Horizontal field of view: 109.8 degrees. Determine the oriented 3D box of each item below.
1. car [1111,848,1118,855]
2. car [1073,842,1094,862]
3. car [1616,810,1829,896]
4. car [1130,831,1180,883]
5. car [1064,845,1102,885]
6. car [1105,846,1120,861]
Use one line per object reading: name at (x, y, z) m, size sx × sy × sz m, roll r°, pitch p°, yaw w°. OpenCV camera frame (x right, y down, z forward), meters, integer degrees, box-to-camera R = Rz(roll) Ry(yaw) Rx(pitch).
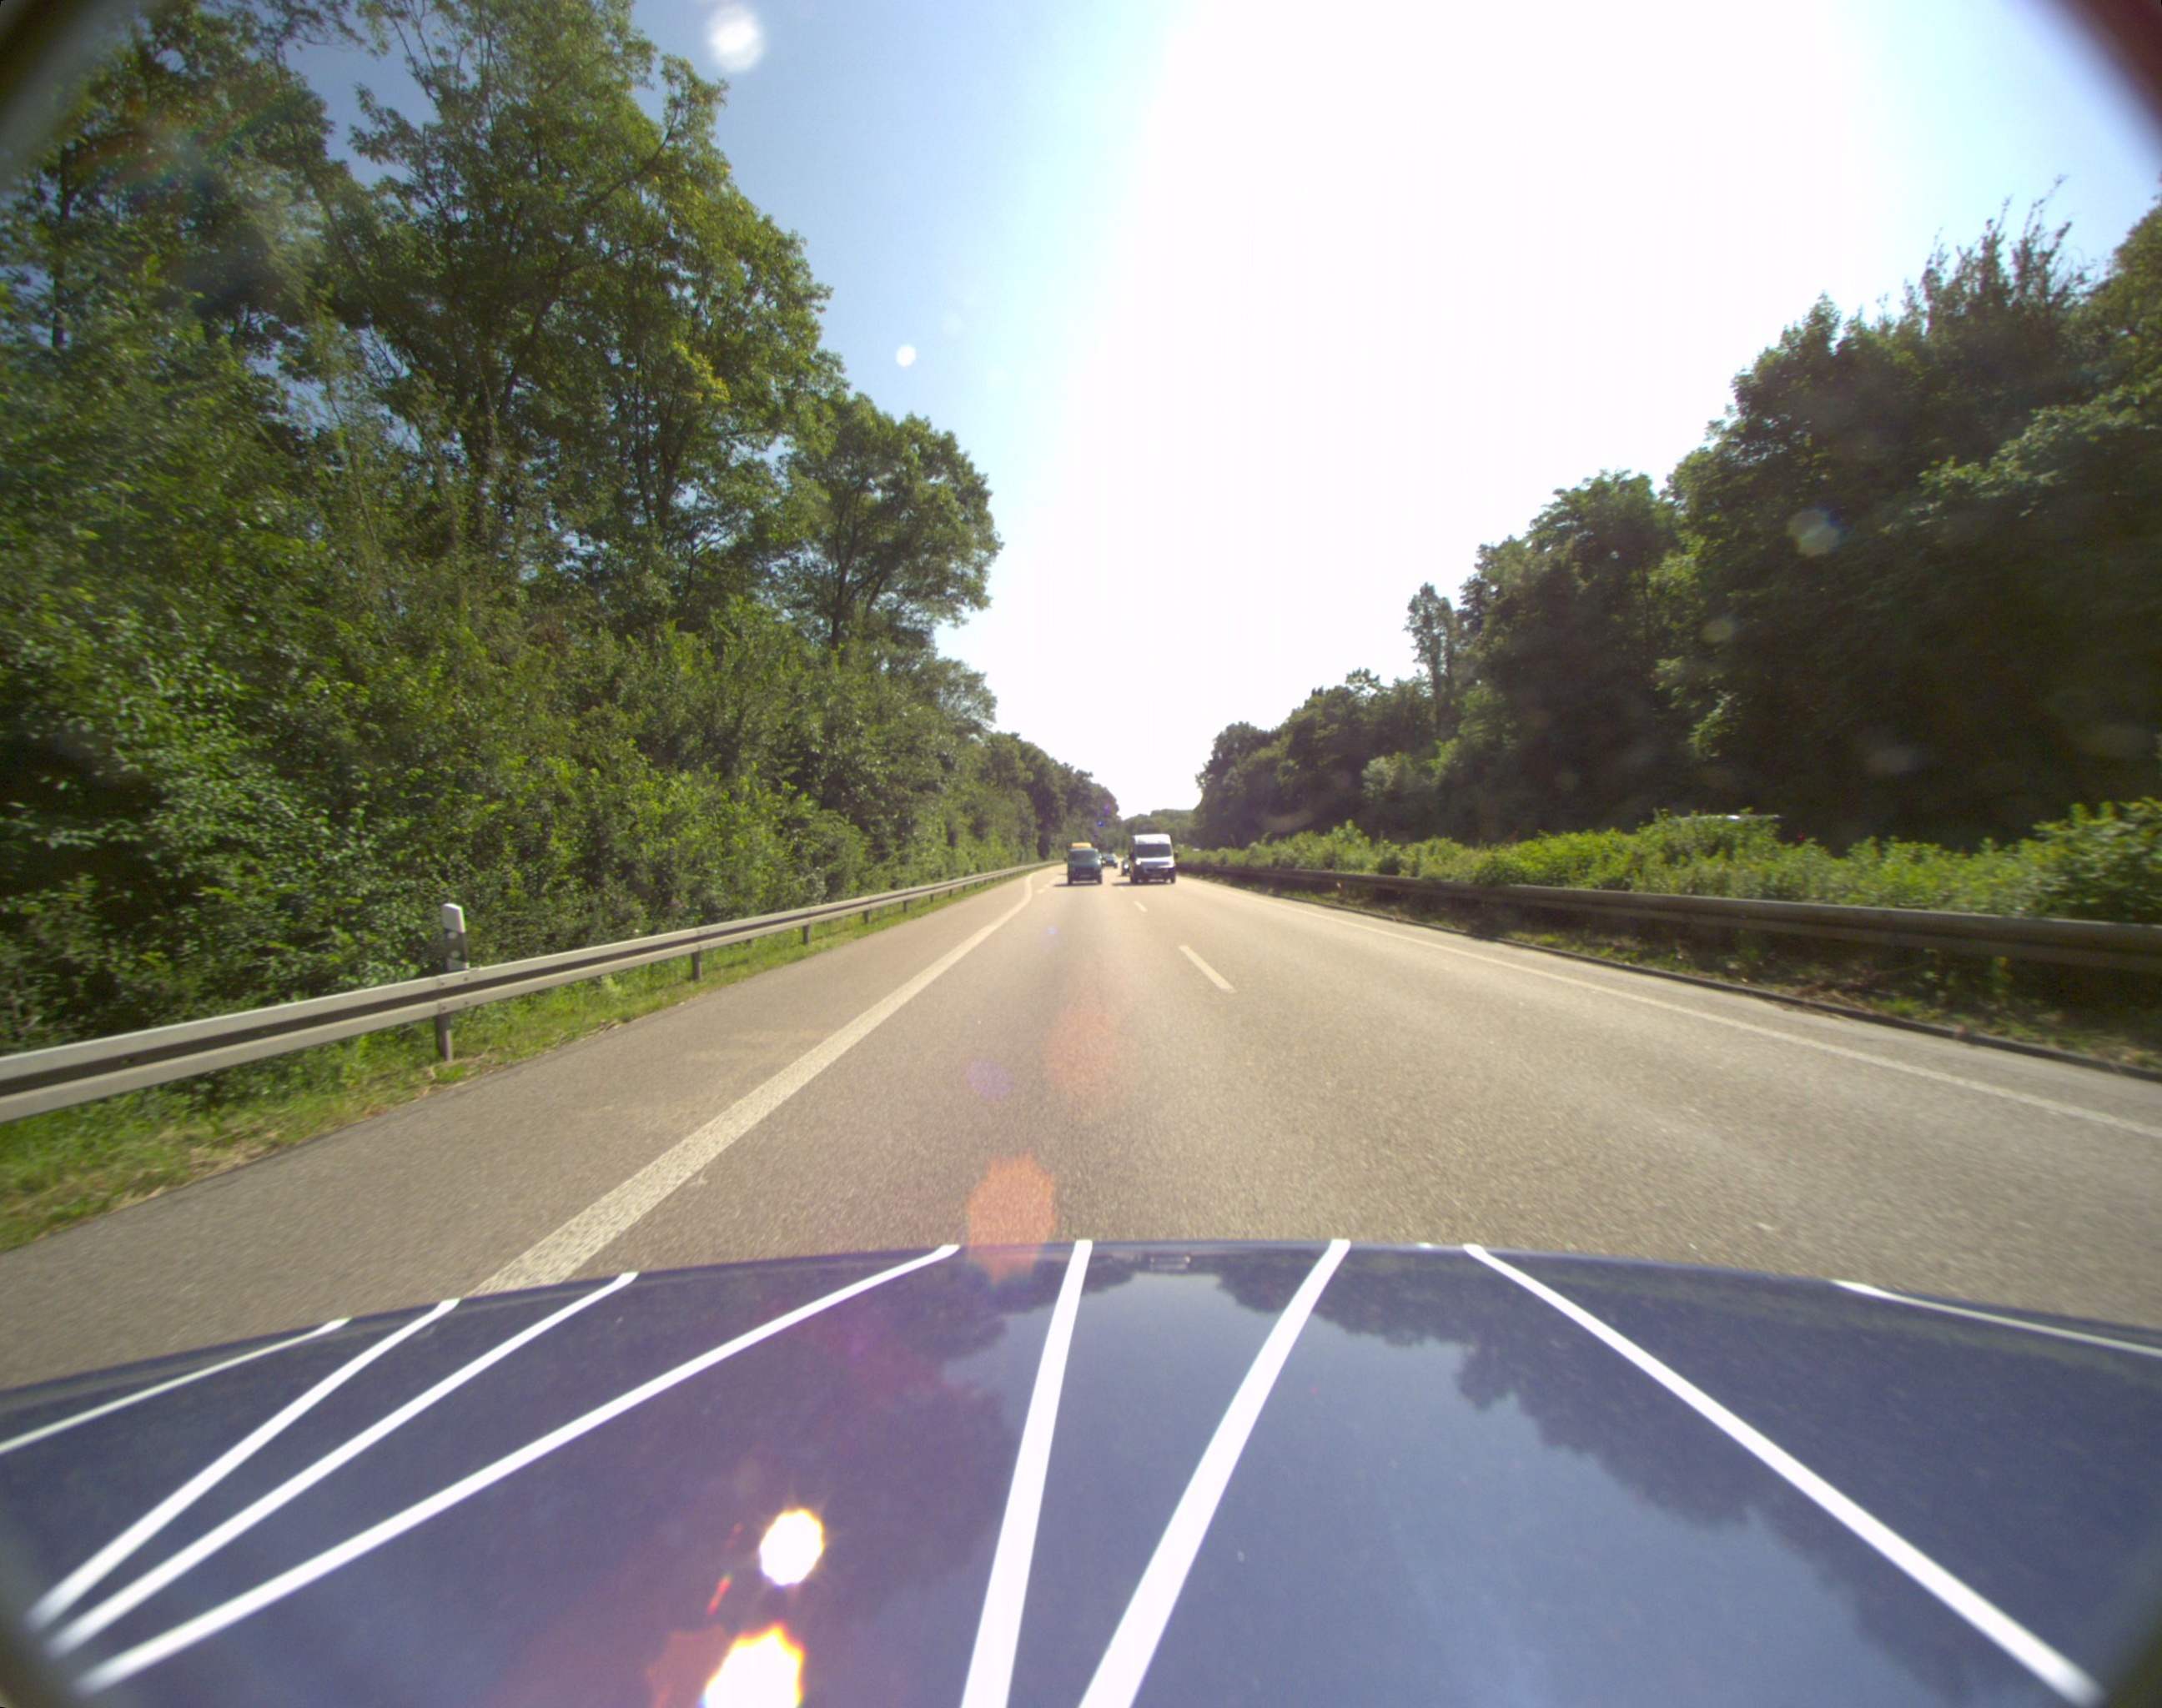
car at (10.000, -0.783, 228.843) m, size 1.998 × 2.002 × 4.000 m, roll -2°, pitch 1°, yaw 3°
car at (0.240, -0.194, 66.499) m, size 1.737 × 1.624 × 3.899 m, roll -2°, pitch 1°, yaw 1°
car at (15.907, -0.025, 19.202) m, size 1.635 × 1.838 × 4.432 m, roll -2°, pitch 0°, yaw 1°
car at (3.667, 0.103, 38.647) m, size 2.046 × 2.430 × 4.637 m, roll -2°, pitch 1°, yaw 1°
car at (0.117, 0.510, 40.532) m, size 1.812 × 1.921 × 4.581 m, roll -2°, pitch 1°, yaw 1°
car at (3.560, -0.064, 85.299) m, size 1.517 × 1.624 × 3.611 m, roll -2°, pitch 1°, yaw 1°
